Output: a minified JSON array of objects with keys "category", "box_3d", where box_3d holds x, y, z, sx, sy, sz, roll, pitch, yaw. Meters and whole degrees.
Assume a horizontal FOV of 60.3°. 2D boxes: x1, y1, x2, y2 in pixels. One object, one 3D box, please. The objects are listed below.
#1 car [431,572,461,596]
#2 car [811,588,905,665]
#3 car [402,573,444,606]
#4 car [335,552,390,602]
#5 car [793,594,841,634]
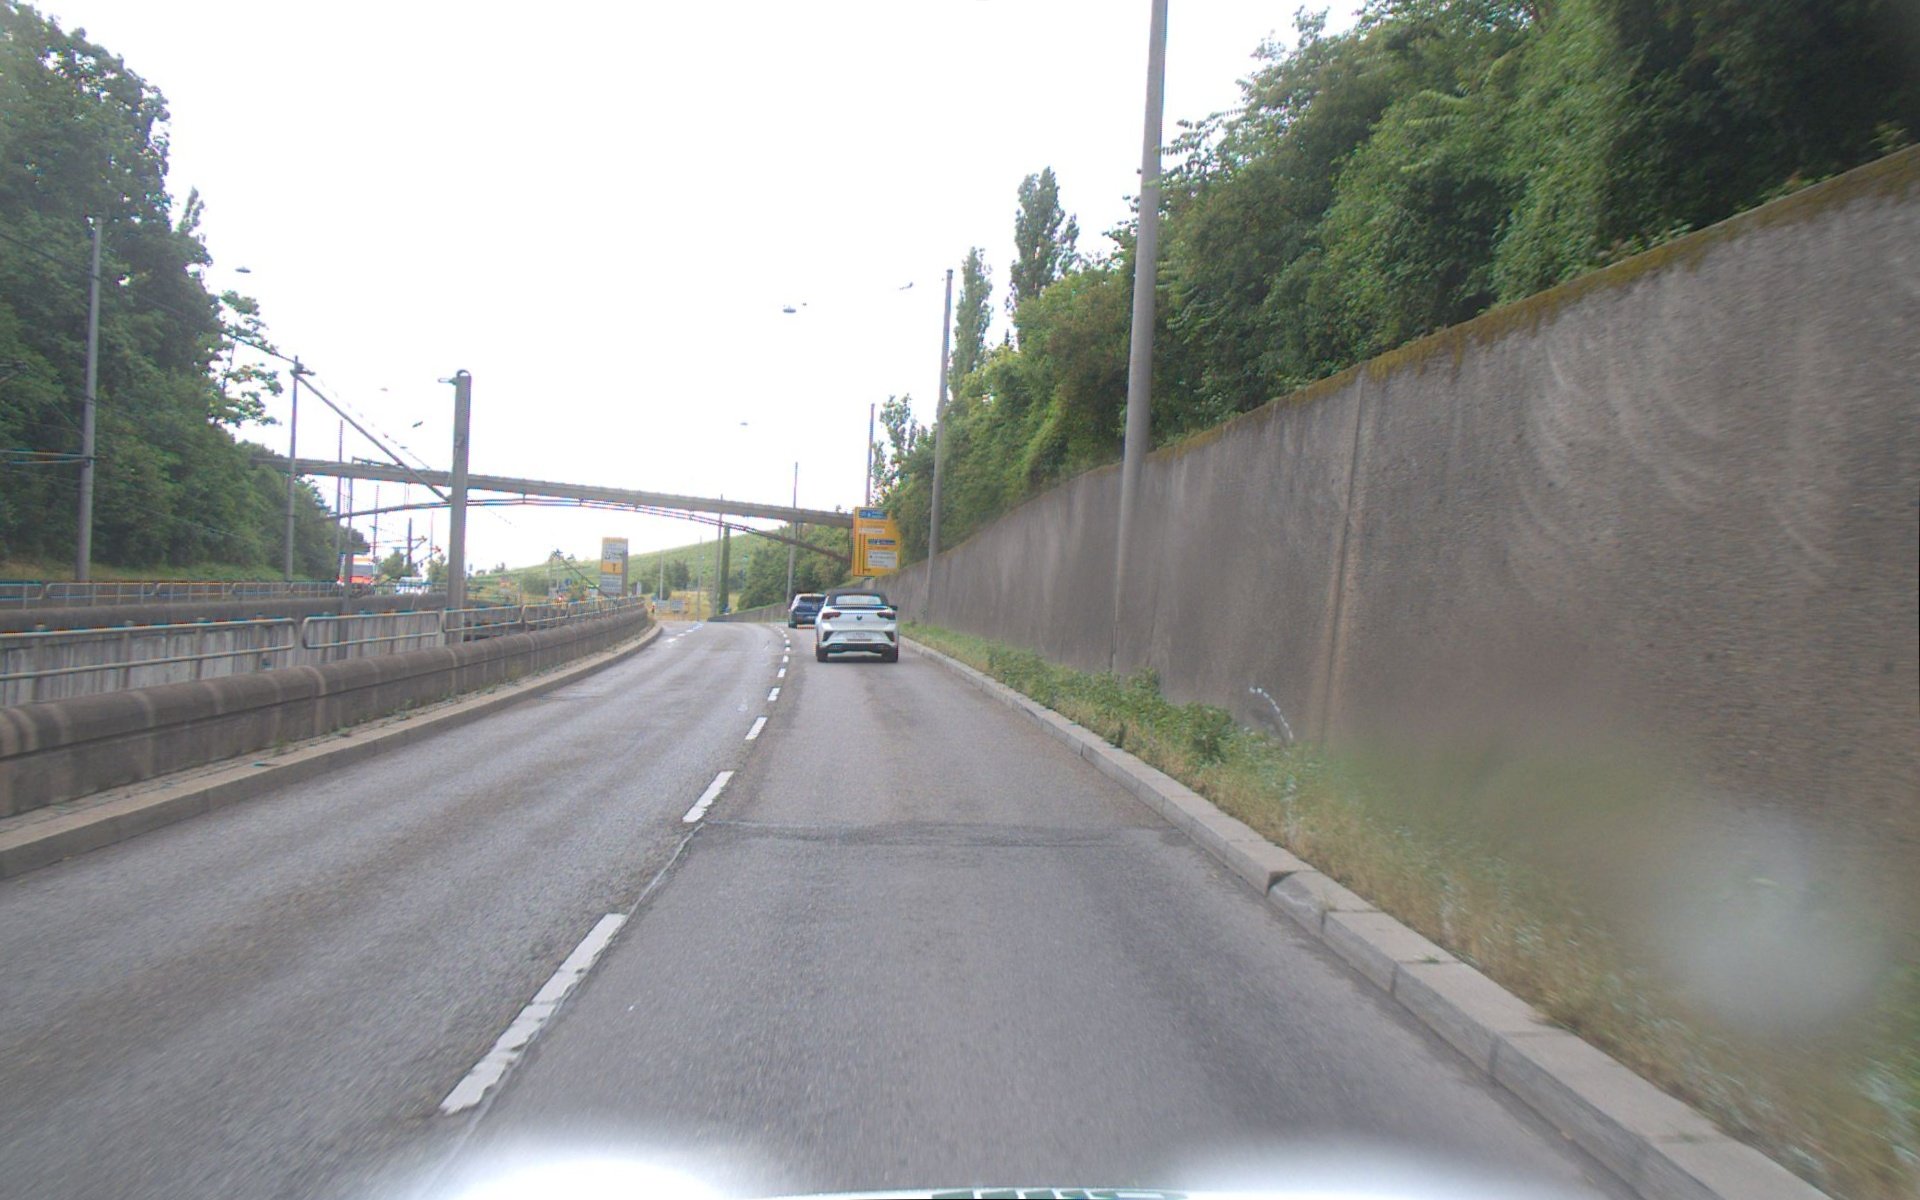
[{"category":"car","box_3d":[-38.766,-1.162,124.790,1.928,1.780,4.126,0,0,-14]},{"category":"car","box_3d":[-2.304,0.539,36.584,1.957,1.606,4.121,0,0,-5]},{"category":"car","box_3d":[-29.307,-0.570,90.357,1.786,1.734,4.098,0,0,-12]},{"category":"car","box_3d":[-34.125,-1.281,94.589,2.144,2.782,6.325,0,0,-12]},{"category":"car","box_3d":[-6.097,0.577,71.065,1.888,1.627,4.059,0,0,-3]}]
